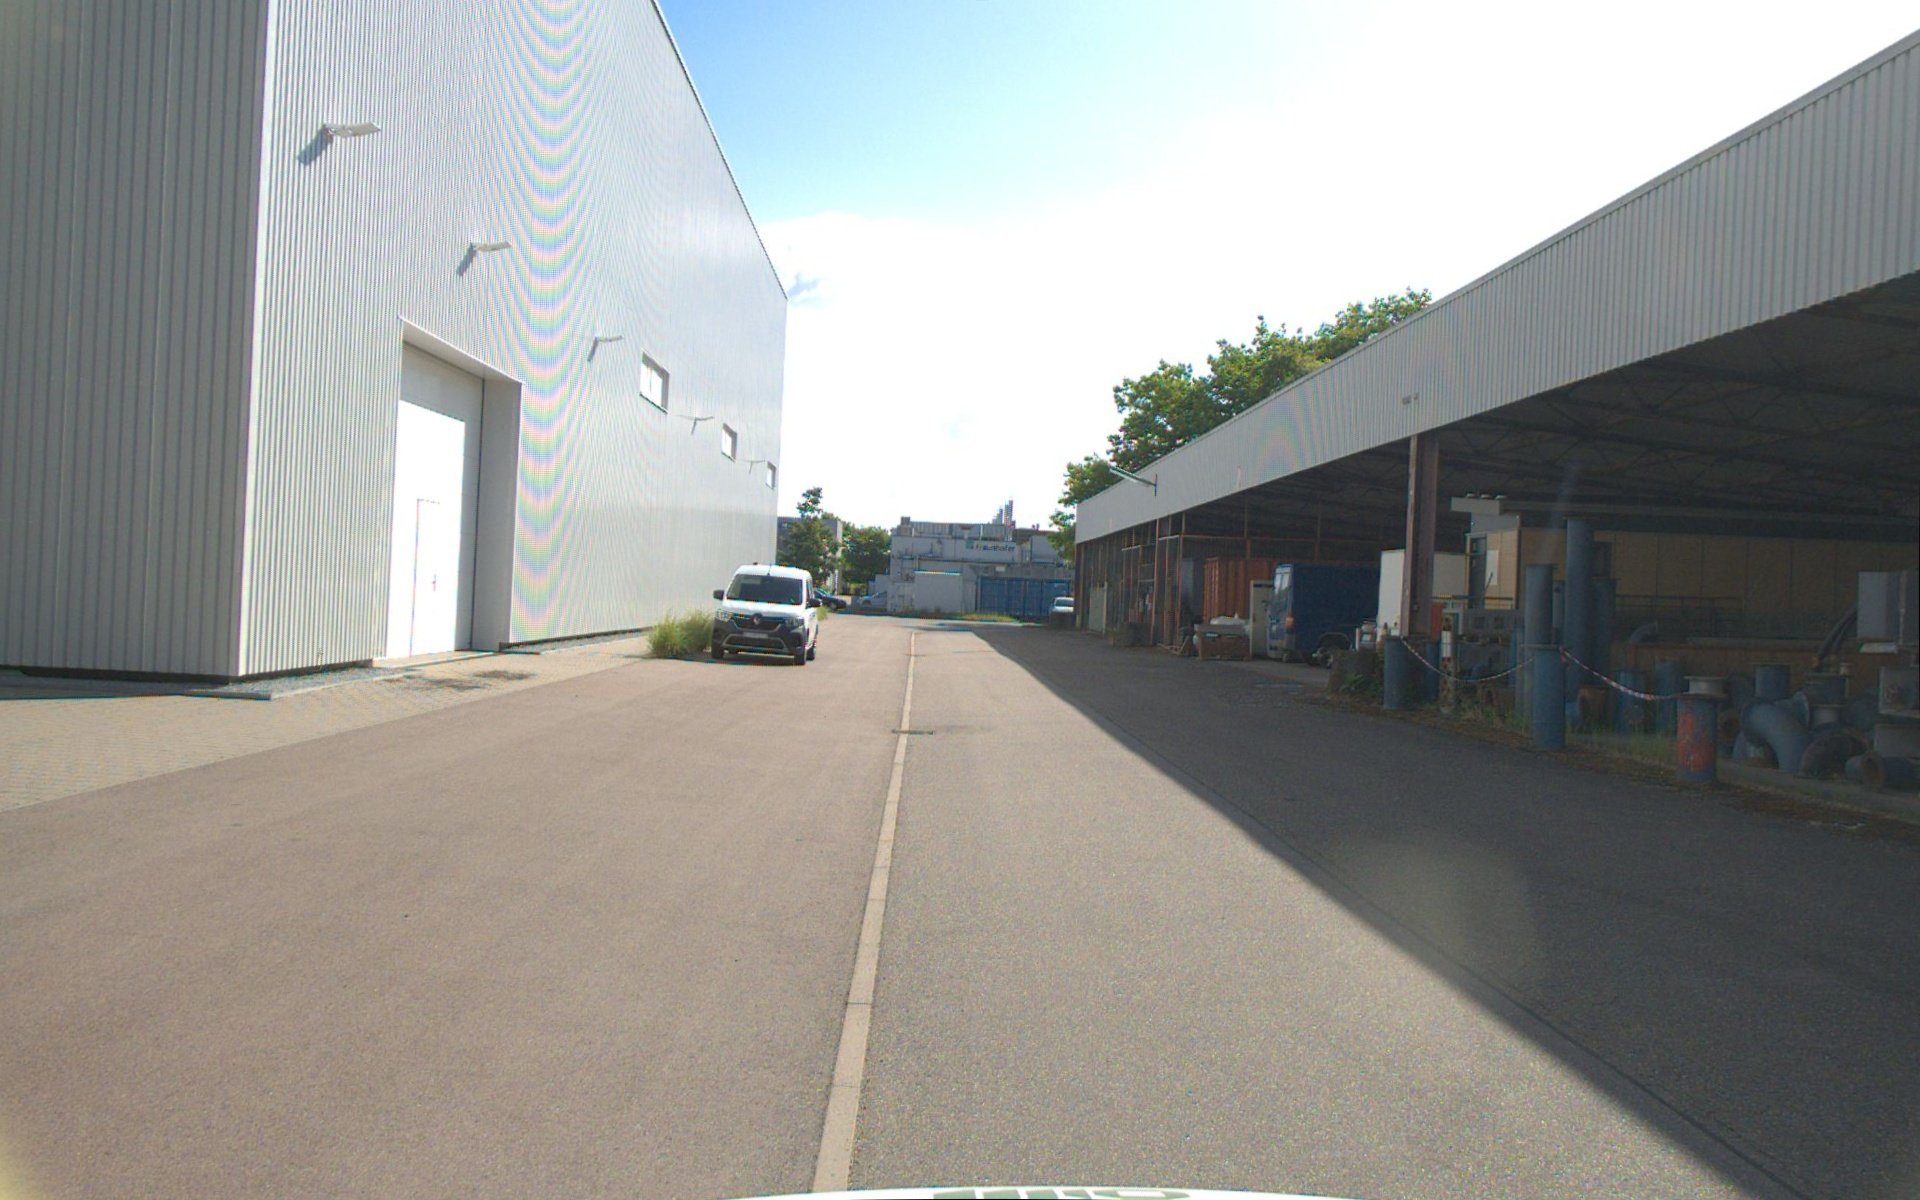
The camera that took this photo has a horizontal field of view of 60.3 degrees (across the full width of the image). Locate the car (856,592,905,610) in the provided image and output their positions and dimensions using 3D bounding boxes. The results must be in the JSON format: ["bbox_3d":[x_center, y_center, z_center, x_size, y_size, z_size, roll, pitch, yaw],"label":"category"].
[{"bbox_3d":[-6.819,0.072,142.193,4.216,1.483,1.823,1,0,-2],"label":"car"}]

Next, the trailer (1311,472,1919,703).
[{"bbox_3d":[11.021,-0.185,26.789,10.060,3.401,2.800,1,0,-1],"label":"trailer"}]

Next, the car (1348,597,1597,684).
[{"bbox_3d":[9.794,0.763,31.804,4.165,1.497,1.868,2,0,-5],"label":"car"}]

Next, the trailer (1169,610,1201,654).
[{"bbox_3d":[5.926,0.833,43.647,0.541,1.138,1.546,1,0,-3],"label":"trailer"}]

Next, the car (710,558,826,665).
[{"bbox_3d":[-3.679,0.219,32.422,1.748,1.847,4.600,4,0,-2],"label":"car"}]

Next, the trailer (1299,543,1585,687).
[{"bbox_3d":[8.425,0.265,29.205,4.424,2.383,2.047,1,0,-1],"label":"trailer"}]

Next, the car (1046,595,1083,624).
[{"bbox_3d":[6.441,0.570,102.244,1.939,1.630,4.377,1,1,0],"label":"car"}]

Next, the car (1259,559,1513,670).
[{"bbox_3d":[9.728,0.331,38.043,5.225,2.321,2.151,2,-1,-3],"label":"car"}]

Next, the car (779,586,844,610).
[{"bbox_3d":[-10.211,-0.131,114.187,4.358,1.558,1.823,1,0,-2],"label":"car"}]

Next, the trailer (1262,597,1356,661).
[{"bbox_3d":[8.549,0.694,40.619,1.996,1.492,1.739,1,0,2],"label":"trailer"}]
